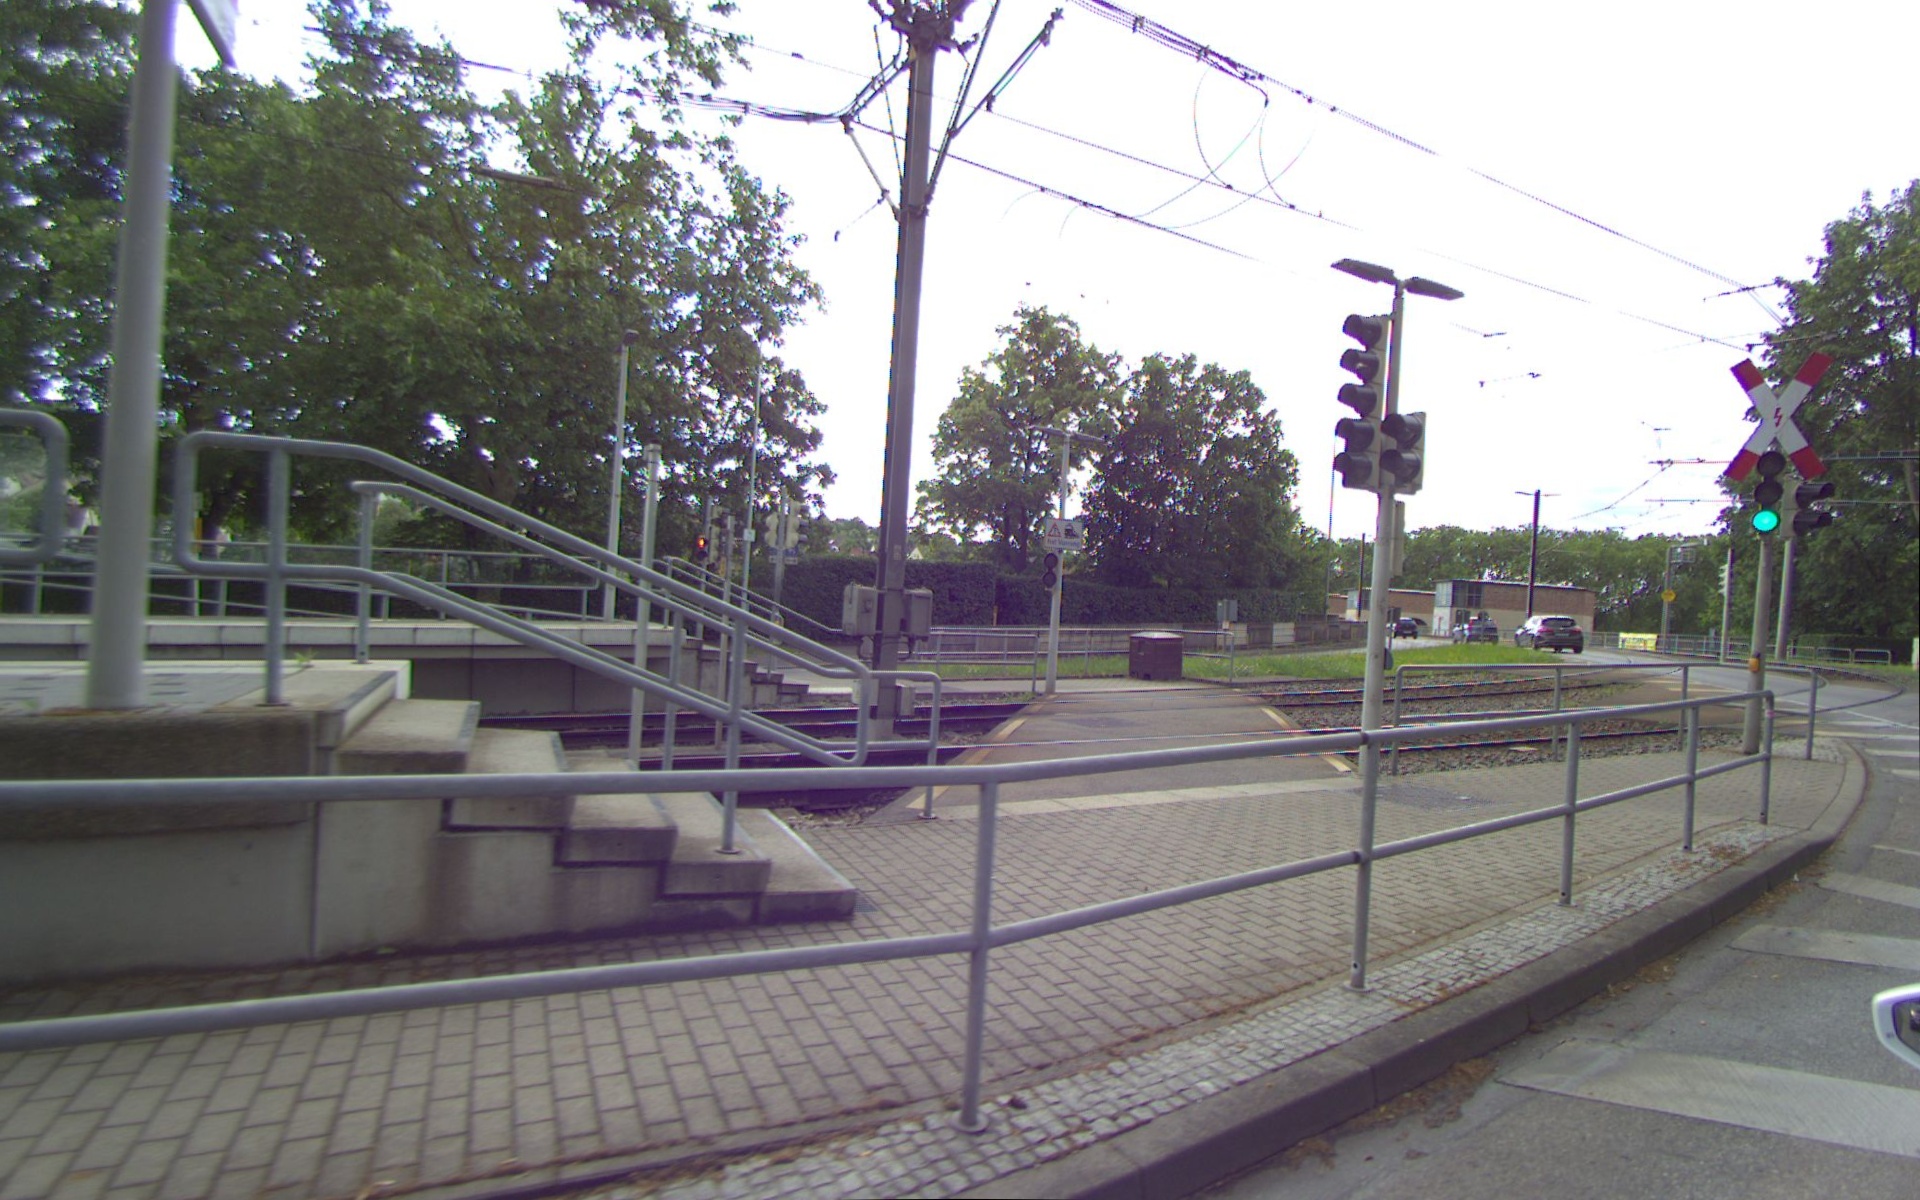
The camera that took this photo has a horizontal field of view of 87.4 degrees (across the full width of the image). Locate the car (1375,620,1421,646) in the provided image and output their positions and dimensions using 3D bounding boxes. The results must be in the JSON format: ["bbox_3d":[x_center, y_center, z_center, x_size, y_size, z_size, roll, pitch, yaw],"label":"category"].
[{"bbox_3d":[30.920,2.291,71.038,1.959,1.695,4.543,1,0,11],"label":"car"}]

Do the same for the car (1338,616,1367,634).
[{"bbox_3d":[39.110,2.486,100.182,1.960,1.591,4.908,4,0,13],"label":"car"}]

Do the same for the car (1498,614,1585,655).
[{"bbox_3d":[24.452,1.413,42.397,1.740,1.576,4.243,1,0,10],"label":"car"}]

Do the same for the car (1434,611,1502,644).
[{"bbox_3d":[27.714,1.464,54.938,1.959,1.585,5.000,1,0,10],"label":"car"}]
